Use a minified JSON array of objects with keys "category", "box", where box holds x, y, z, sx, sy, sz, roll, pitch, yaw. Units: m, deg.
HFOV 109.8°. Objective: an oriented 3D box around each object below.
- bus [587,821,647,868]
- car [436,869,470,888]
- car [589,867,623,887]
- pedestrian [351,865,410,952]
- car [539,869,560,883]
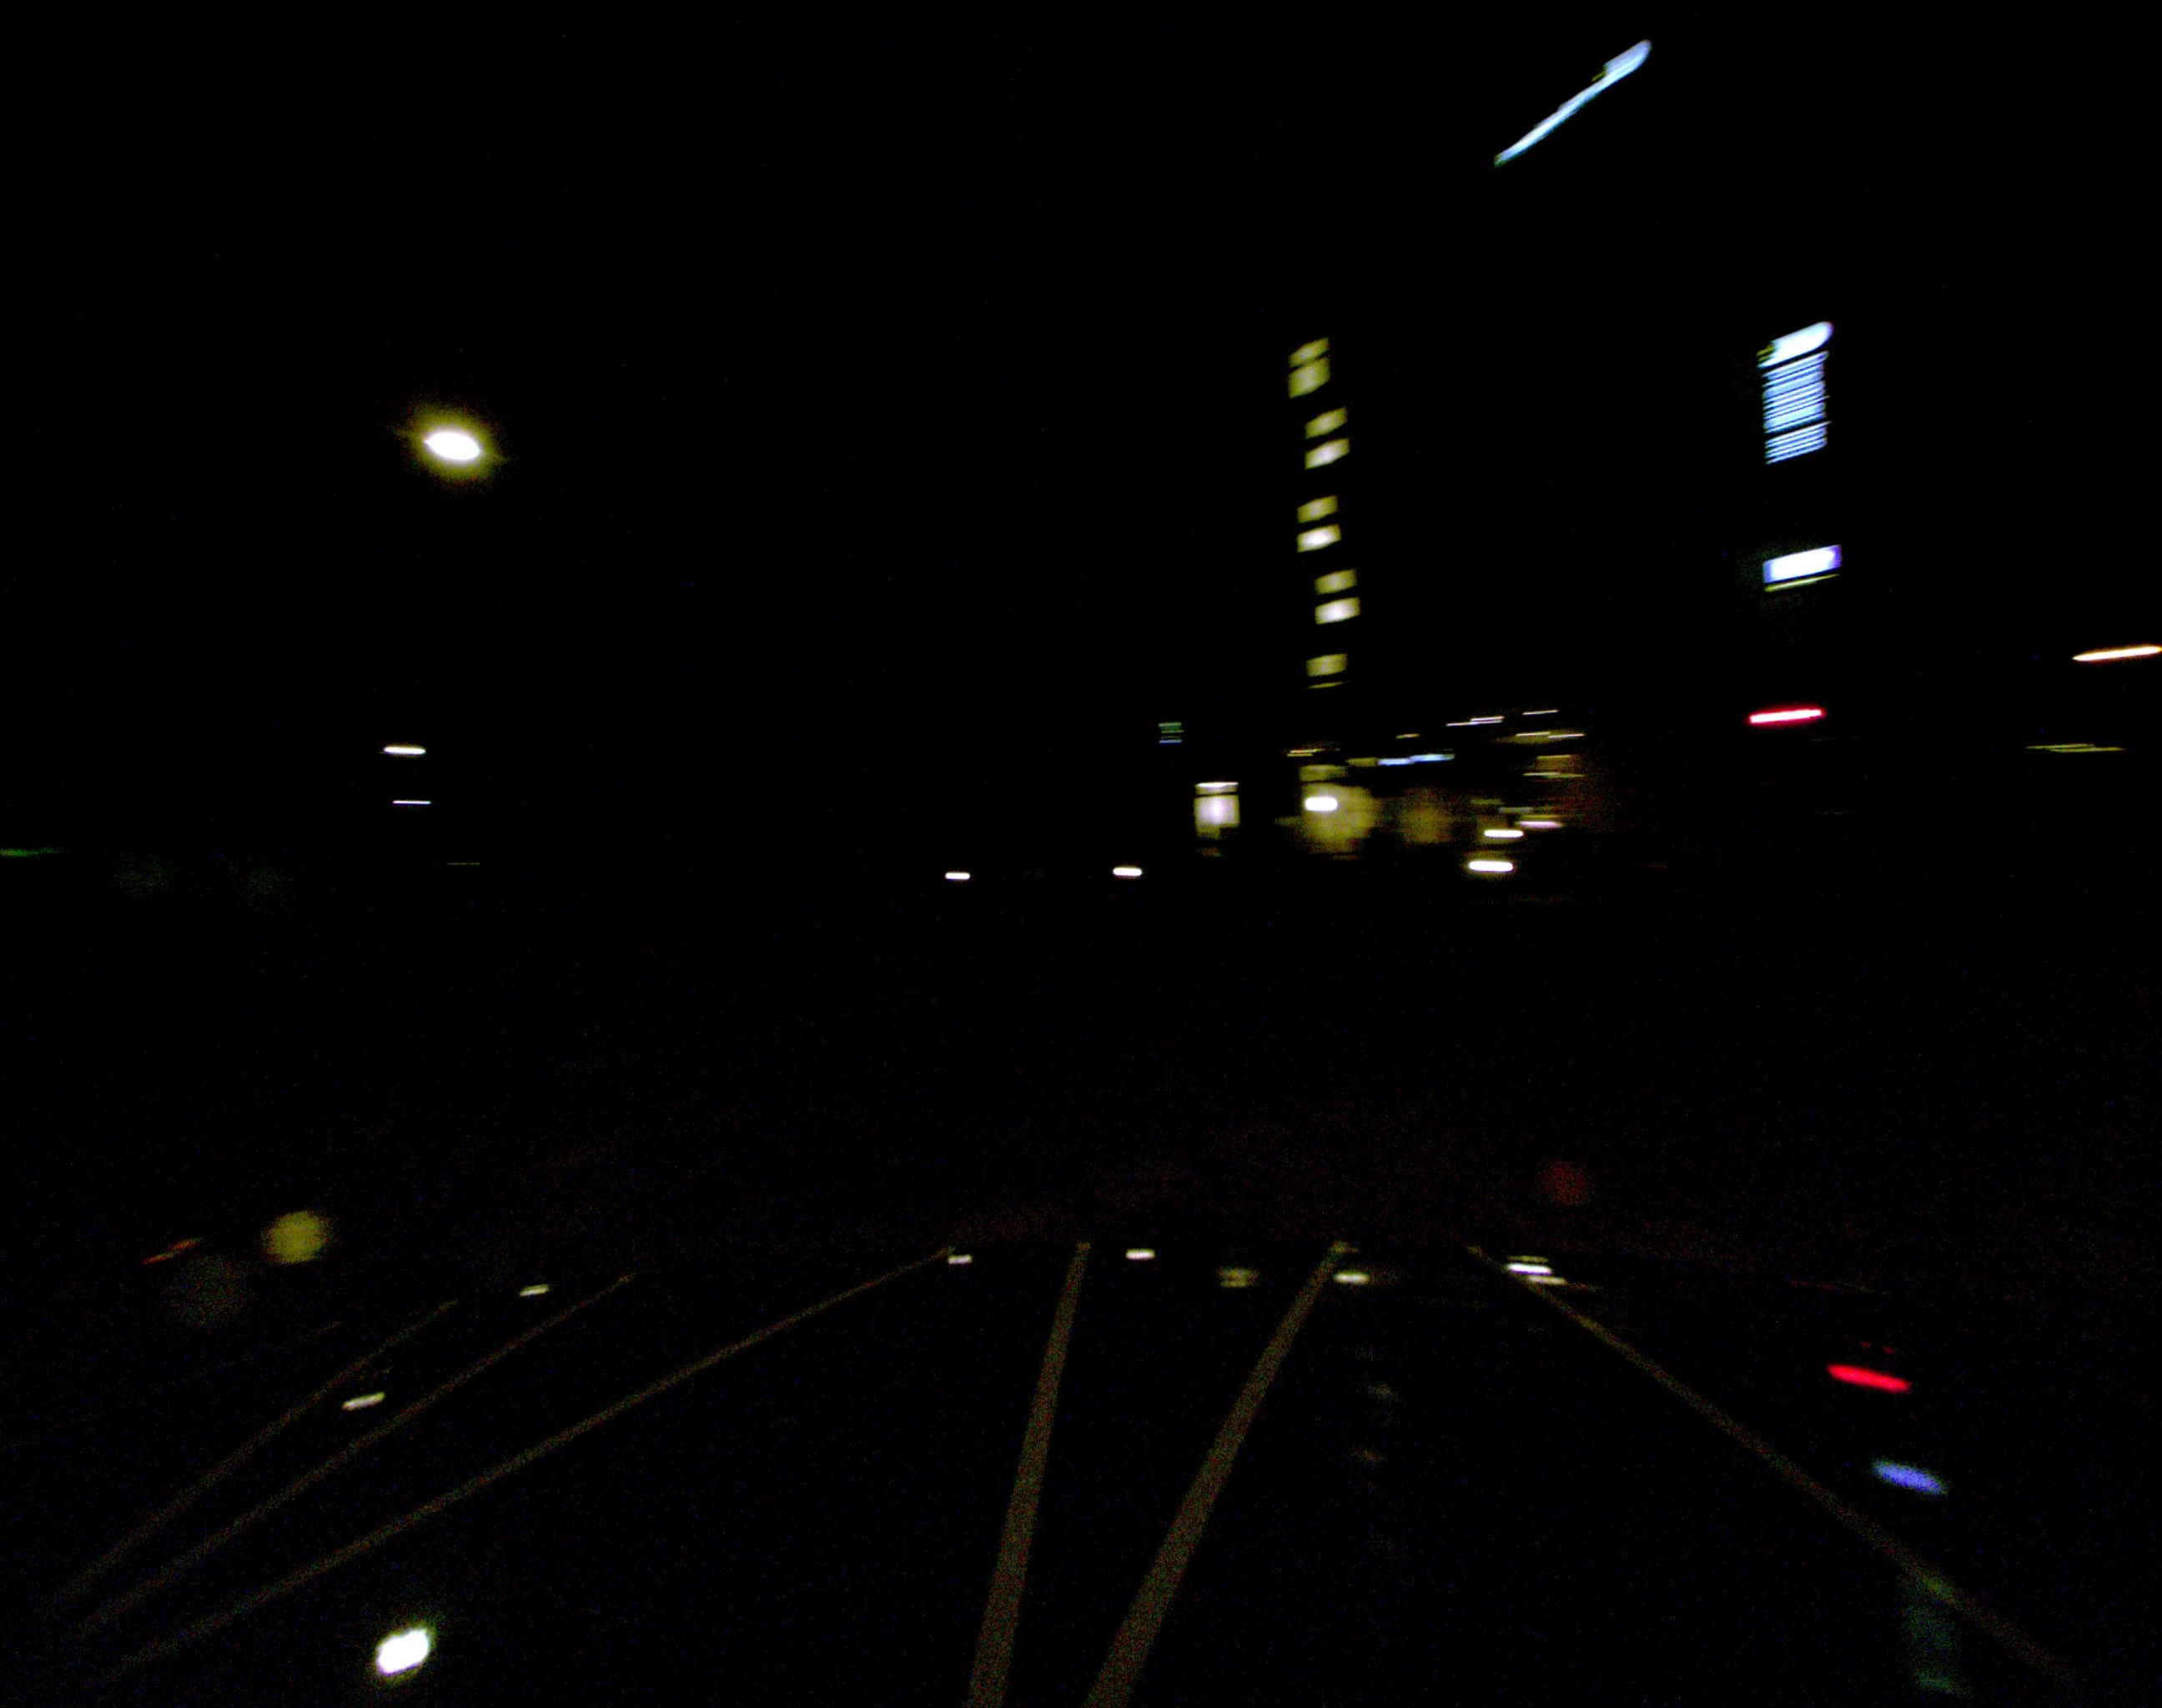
[{"category":"bus","box":[-75.087,-1.462,122.691,6.150,6.898,14.743,-4,1,-38]},{"category":"car","box":[-59.652,2.316,72.245,2.003,1.637,3.990,-2,0,-33]},{"category":"car","box":[-39.702,1.901,63.435,1.810,1.583,3.989,-4,2,-39]},{"category":"pedestrian","box":[-15.850,1.202,17.216,0.821,1.854,1.031,-4,2,-39]},{"category":"car","box":[-65.453,2.690,93.553,1.868,1.484,4.070,-4,1,-39]}]
